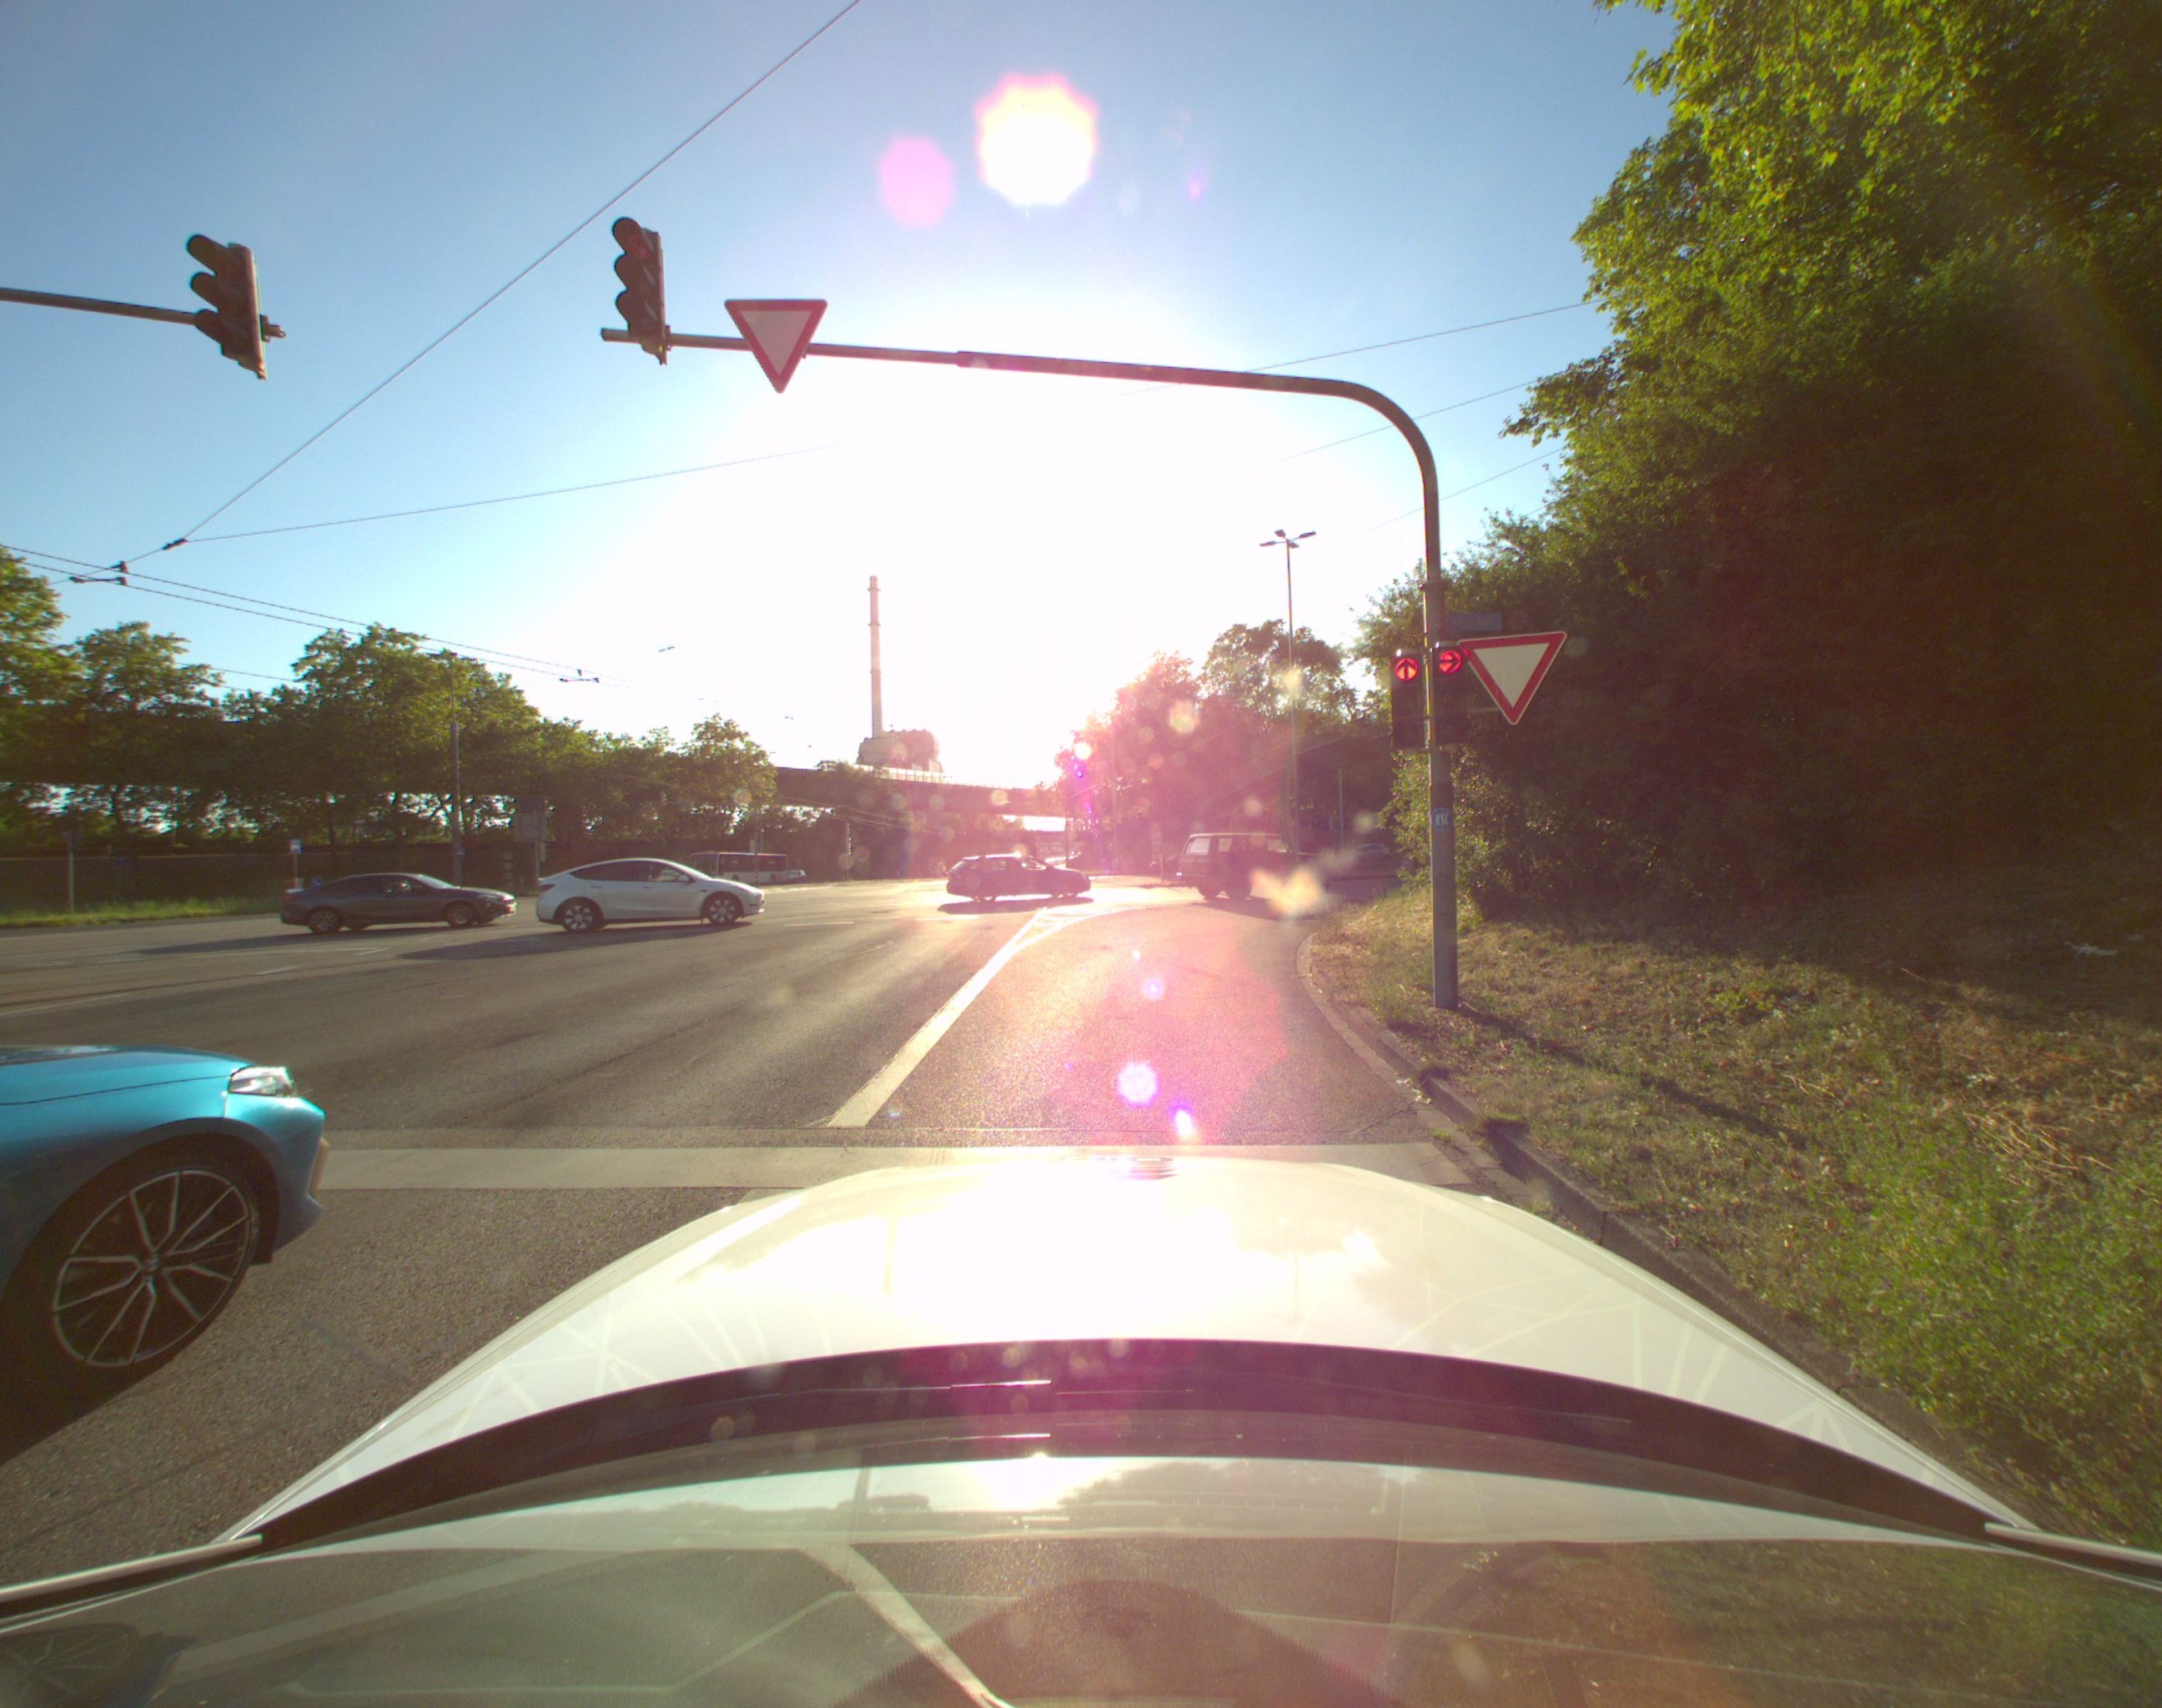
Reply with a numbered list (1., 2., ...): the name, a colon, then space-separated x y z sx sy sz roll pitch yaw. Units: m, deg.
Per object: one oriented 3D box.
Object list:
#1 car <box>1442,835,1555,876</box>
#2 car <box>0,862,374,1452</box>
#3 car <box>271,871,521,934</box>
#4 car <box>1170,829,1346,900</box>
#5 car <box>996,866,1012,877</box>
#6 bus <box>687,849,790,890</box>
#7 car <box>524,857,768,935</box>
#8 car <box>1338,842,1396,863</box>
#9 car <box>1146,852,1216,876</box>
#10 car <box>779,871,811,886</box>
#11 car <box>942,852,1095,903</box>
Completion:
1. car: 17.056 0.062 33.266 4.250 1.575 1.682 -1 0 -20
2. car: -3.561 0.793 1.012 1.709 1.466 4.205 -2 0 -1
3. car: -17.091 1.176 20.603 4.492 1.369 1.682 -1 0 -20
4. car: 5.391 0.280 24.867 4.945 1.991 2.023 -1 0 -20
5. car: -9.953 2.261 105.353 1.660 1.405 4.444 -1 0 0
6. bus: -29.349 1.375 70.739 2.532 3.130 12.931 -2 -2 4
7. car: -9.853 0.903 18.891 4.767 1.575 1.682 -1 0 -20
8. car: 21.908 -0.114 62.438 4.005 1.512 1.684 -1 0 -17
9. car: 7.011 0.669 57.078 4.585 1.575 1.685 -1 0 -16
10. car: -28.566 2.453 81.531 1.600 1.419 4.012 -1 0 3
11. car: -2.008 0.709 26.132 4.625 1.459 1.683 -1 0 -19
